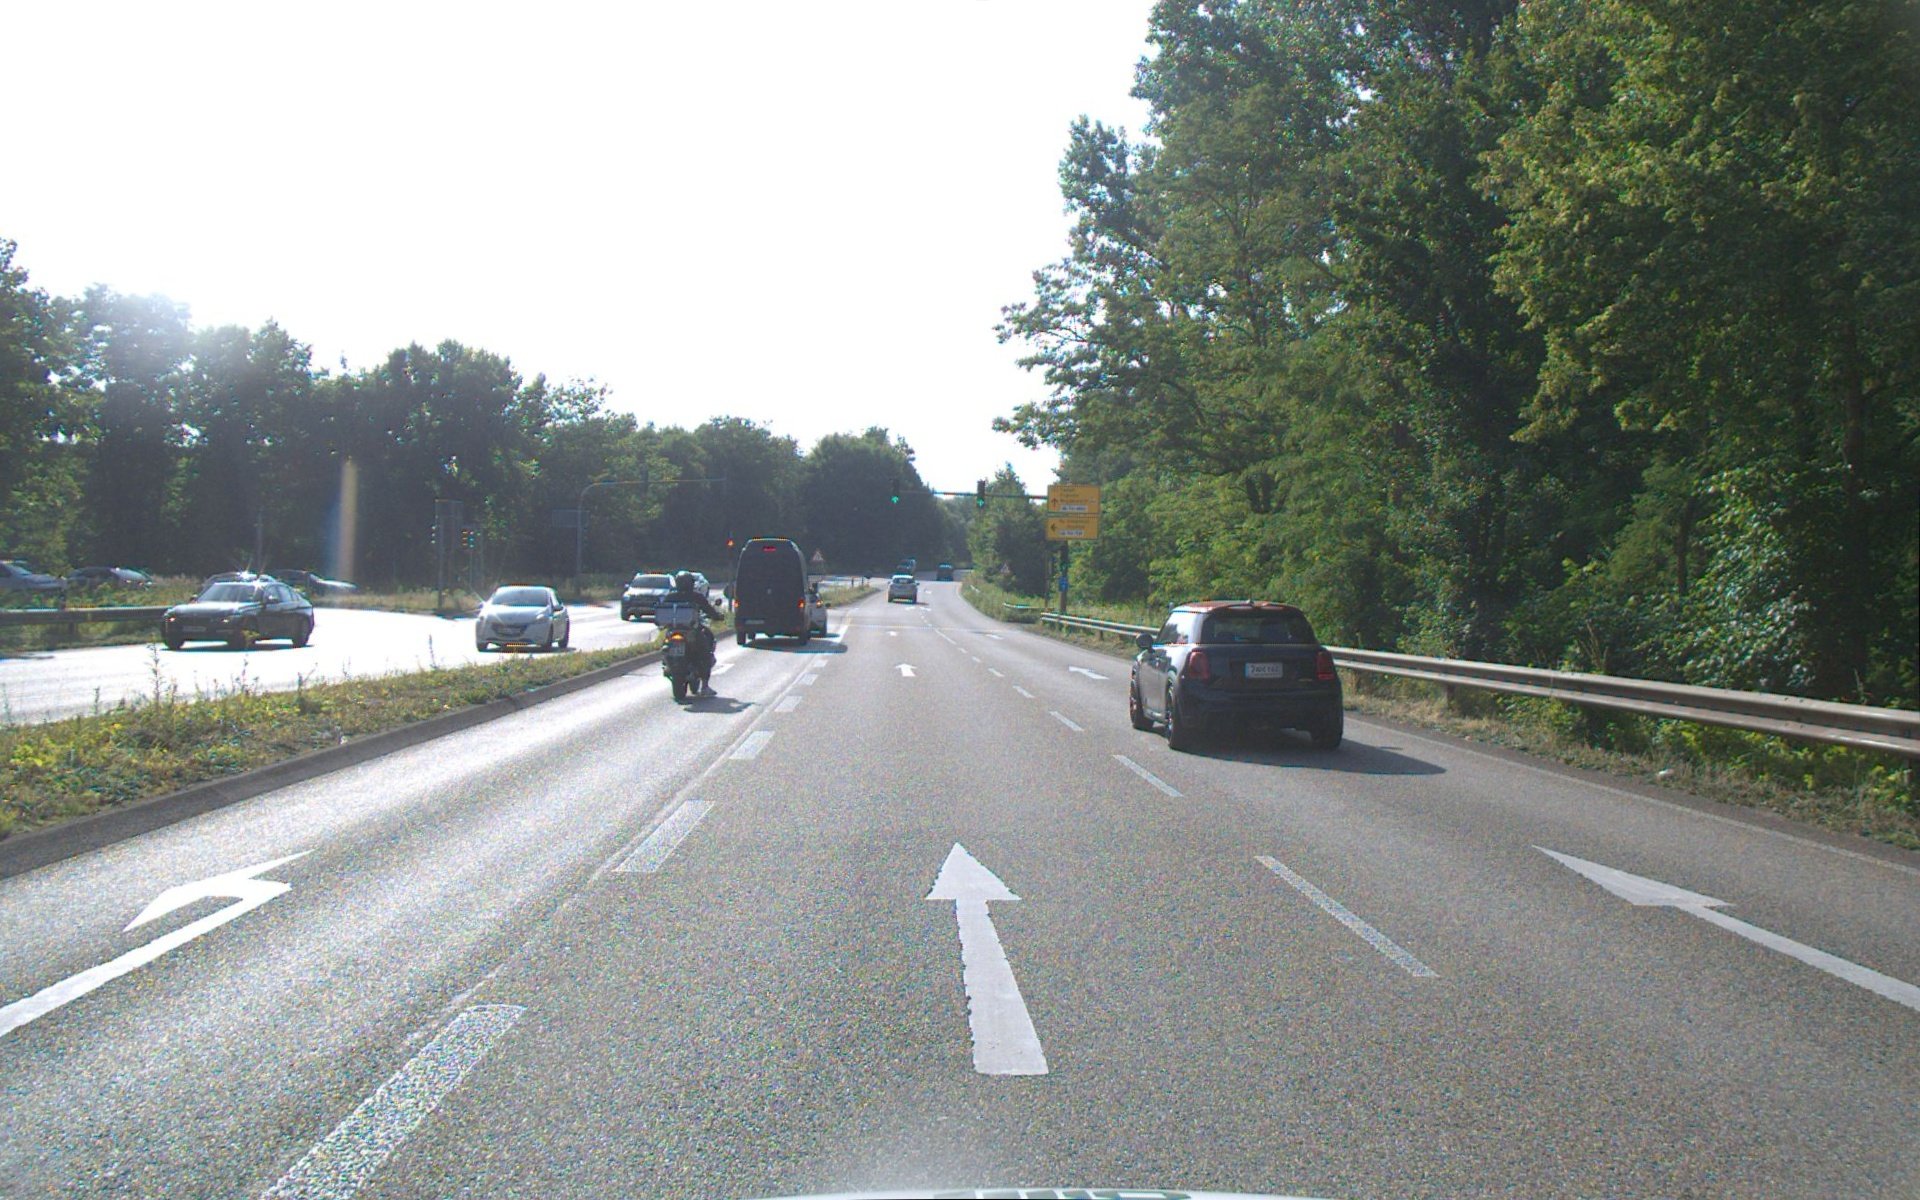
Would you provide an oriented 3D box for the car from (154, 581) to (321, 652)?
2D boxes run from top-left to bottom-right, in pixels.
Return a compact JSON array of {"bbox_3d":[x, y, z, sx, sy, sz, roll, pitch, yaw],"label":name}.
[{"bbox_3d":[-15.811,0.315,36.479,1.752,1.431,4.752,1,1,-3],"label":"car"}]

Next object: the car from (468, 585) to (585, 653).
[{"bbox_3d":[-10.174,0.404,39.119,1.752,1.436,4.225,3,1,-3],"label":"car"}]

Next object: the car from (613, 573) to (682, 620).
[{"bbox_3d":[-12.349,-0.151,65.638,2.034,1.794,4.754,0,1,-3],"label":"car"}]

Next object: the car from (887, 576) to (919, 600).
[{"bbox_3d":[-3.629,-0.761,105.837,1.725,1.404,3.972,2,1,1],"label":"car"}]

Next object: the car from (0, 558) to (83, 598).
[{"bbox_3d":[-39.923,-0.972,69.402,4.948,1.516,2.449,3,0,6],"label":"car"}]

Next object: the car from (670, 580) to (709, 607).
[{"bbox_3d":[-15.486,-0.380,94.772,1.846,1.529,4.261,0,1,-5],"label":"car"}]

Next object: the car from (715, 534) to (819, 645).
[{"bbox_3d":[-5.428,-0.323,47.439,2.164,2.939,7.011,0,1,0],"label":"car"}]

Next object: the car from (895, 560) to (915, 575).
[{"bbox_3d":[-6.986,-4.089,209.758,1.811,1.817,4.673,3,1,7],"label":"car"}]

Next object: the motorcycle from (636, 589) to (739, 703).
[{"bbox_3d":[-3.851,0.615,23.649,0.890,1.479,2.690,-2,1,2],"label":"motorcycle"}]

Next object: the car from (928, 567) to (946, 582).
[{"bbox_3d":[-2.551,-2.791,181.988,1.710,1.564,3.923,3,1,-4],"label":"car"}]

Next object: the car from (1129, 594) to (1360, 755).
[{"bbox_3d":[2.907,0.702,17.694,1.782,1.493,3.873,1,0,0],"label":"car"}]

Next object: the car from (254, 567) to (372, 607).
[{"bbox_3d":[-28.299,-0.583,72.448,4.321,1.516,1.998,3,0,-4],"label":"car"}]

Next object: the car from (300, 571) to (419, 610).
[{"bbox_3d":[-27.340,-0.429,75.392,4.617,1.516,2.167,3,0,-4],"label":"car"}]

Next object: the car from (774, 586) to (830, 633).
[{"bbox_3d":[-5.202,0.285,54.855,1.612,1.515,4.102,0,1,-2],"label":"car"}]

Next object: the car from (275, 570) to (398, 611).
[{"bbox_3d":[-26.146,-0.400,69.441,4.314,1.516,2.002,3,0,7],"label":"car"}]

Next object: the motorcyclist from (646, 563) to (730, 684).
[{"bbox_3d":[-3.868,0.315,23.630,0.865,1.644,1.290,3,0,2],"label":"motorcyclist"}]
